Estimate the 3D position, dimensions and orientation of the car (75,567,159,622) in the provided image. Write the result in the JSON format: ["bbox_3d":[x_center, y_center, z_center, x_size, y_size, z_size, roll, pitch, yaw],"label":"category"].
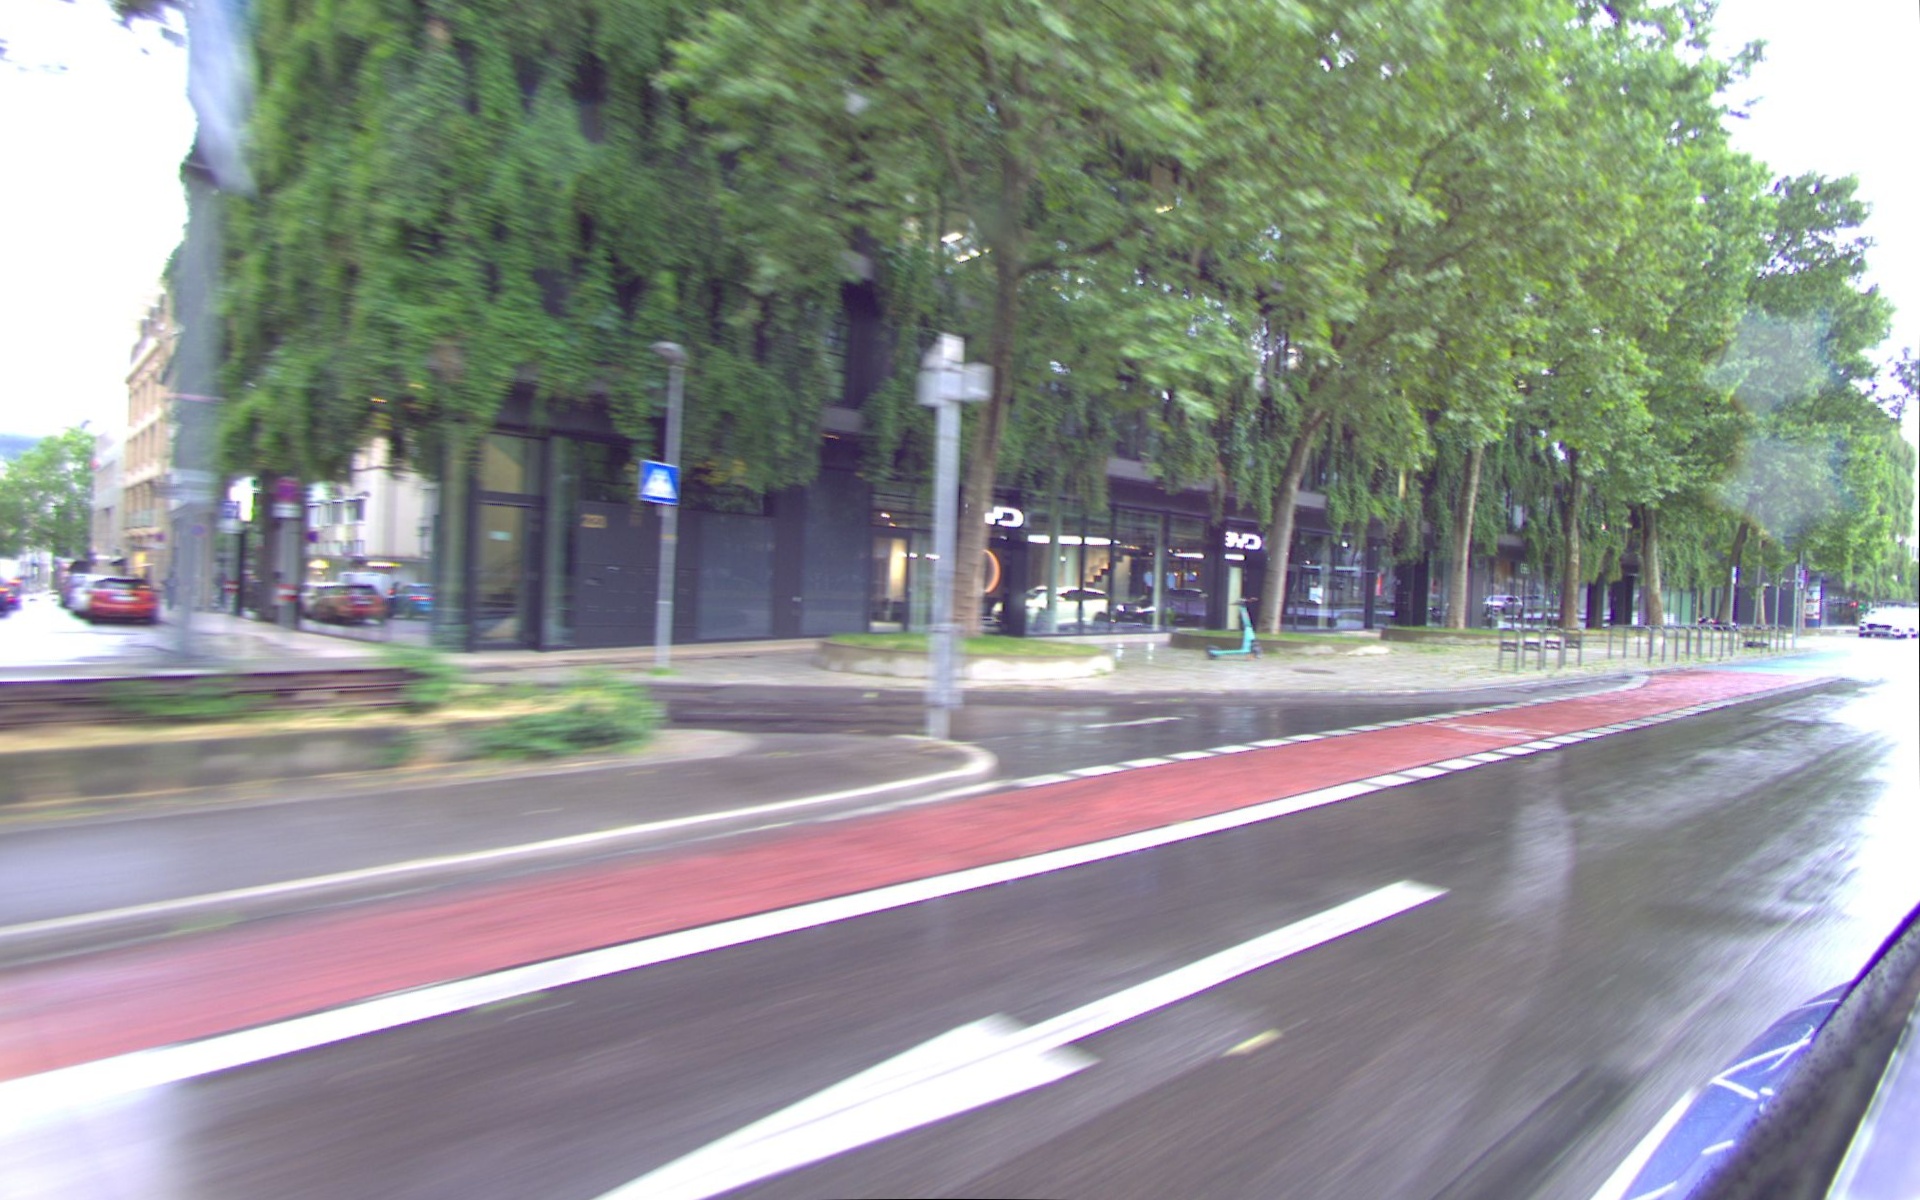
[{"bbox_3d":[-26.418,-0.171,31.664,1.814,1.609,3.991,0,0,-43],"label":"car"}]

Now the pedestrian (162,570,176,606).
[{"bbox_3d":[-32.502,-0.506,41.581,0.413,1.475,0.426,0,0,-43],"label":"pedestrian"}]

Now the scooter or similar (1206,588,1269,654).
[{"bbox_3d":[5.562,0.415,20.322,1.165,1.298,0.535,0,0,9],"label":"scooter or similar"}]

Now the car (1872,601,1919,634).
[{"bbox_3d":[53.363,0.937,57.485,4.521,1.758,1.930,-1,0,-43],"label":"car"}]

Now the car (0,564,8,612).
[{"bbox_3d":[-31.426,-0.415,32.056,1.772,1.454,4.052,-1,2,-44],"label":"car"}]

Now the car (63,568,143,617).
[{"bbox_3d":[-29.521,-0.249,34.823,3.789,1.609,1.757,0,0,44],"label":"car"}]

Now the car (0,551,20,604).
[{"bbox_3d":[-37.498,-0.834,38.873,1.893,1.970,4.954,-1,1,-42],"label":"car"}]

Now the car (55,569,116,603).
[{"bbox_3d":[-37.406,-0.583,43.264,1.814,1.404,3.991,0,0,-43],"label":"car"}]

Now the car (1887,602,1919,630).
[{"bbox_3d":[57.956,0.955,61.354,4.504,1.581,2.035,-1,0,-40],"label":"car"}]
